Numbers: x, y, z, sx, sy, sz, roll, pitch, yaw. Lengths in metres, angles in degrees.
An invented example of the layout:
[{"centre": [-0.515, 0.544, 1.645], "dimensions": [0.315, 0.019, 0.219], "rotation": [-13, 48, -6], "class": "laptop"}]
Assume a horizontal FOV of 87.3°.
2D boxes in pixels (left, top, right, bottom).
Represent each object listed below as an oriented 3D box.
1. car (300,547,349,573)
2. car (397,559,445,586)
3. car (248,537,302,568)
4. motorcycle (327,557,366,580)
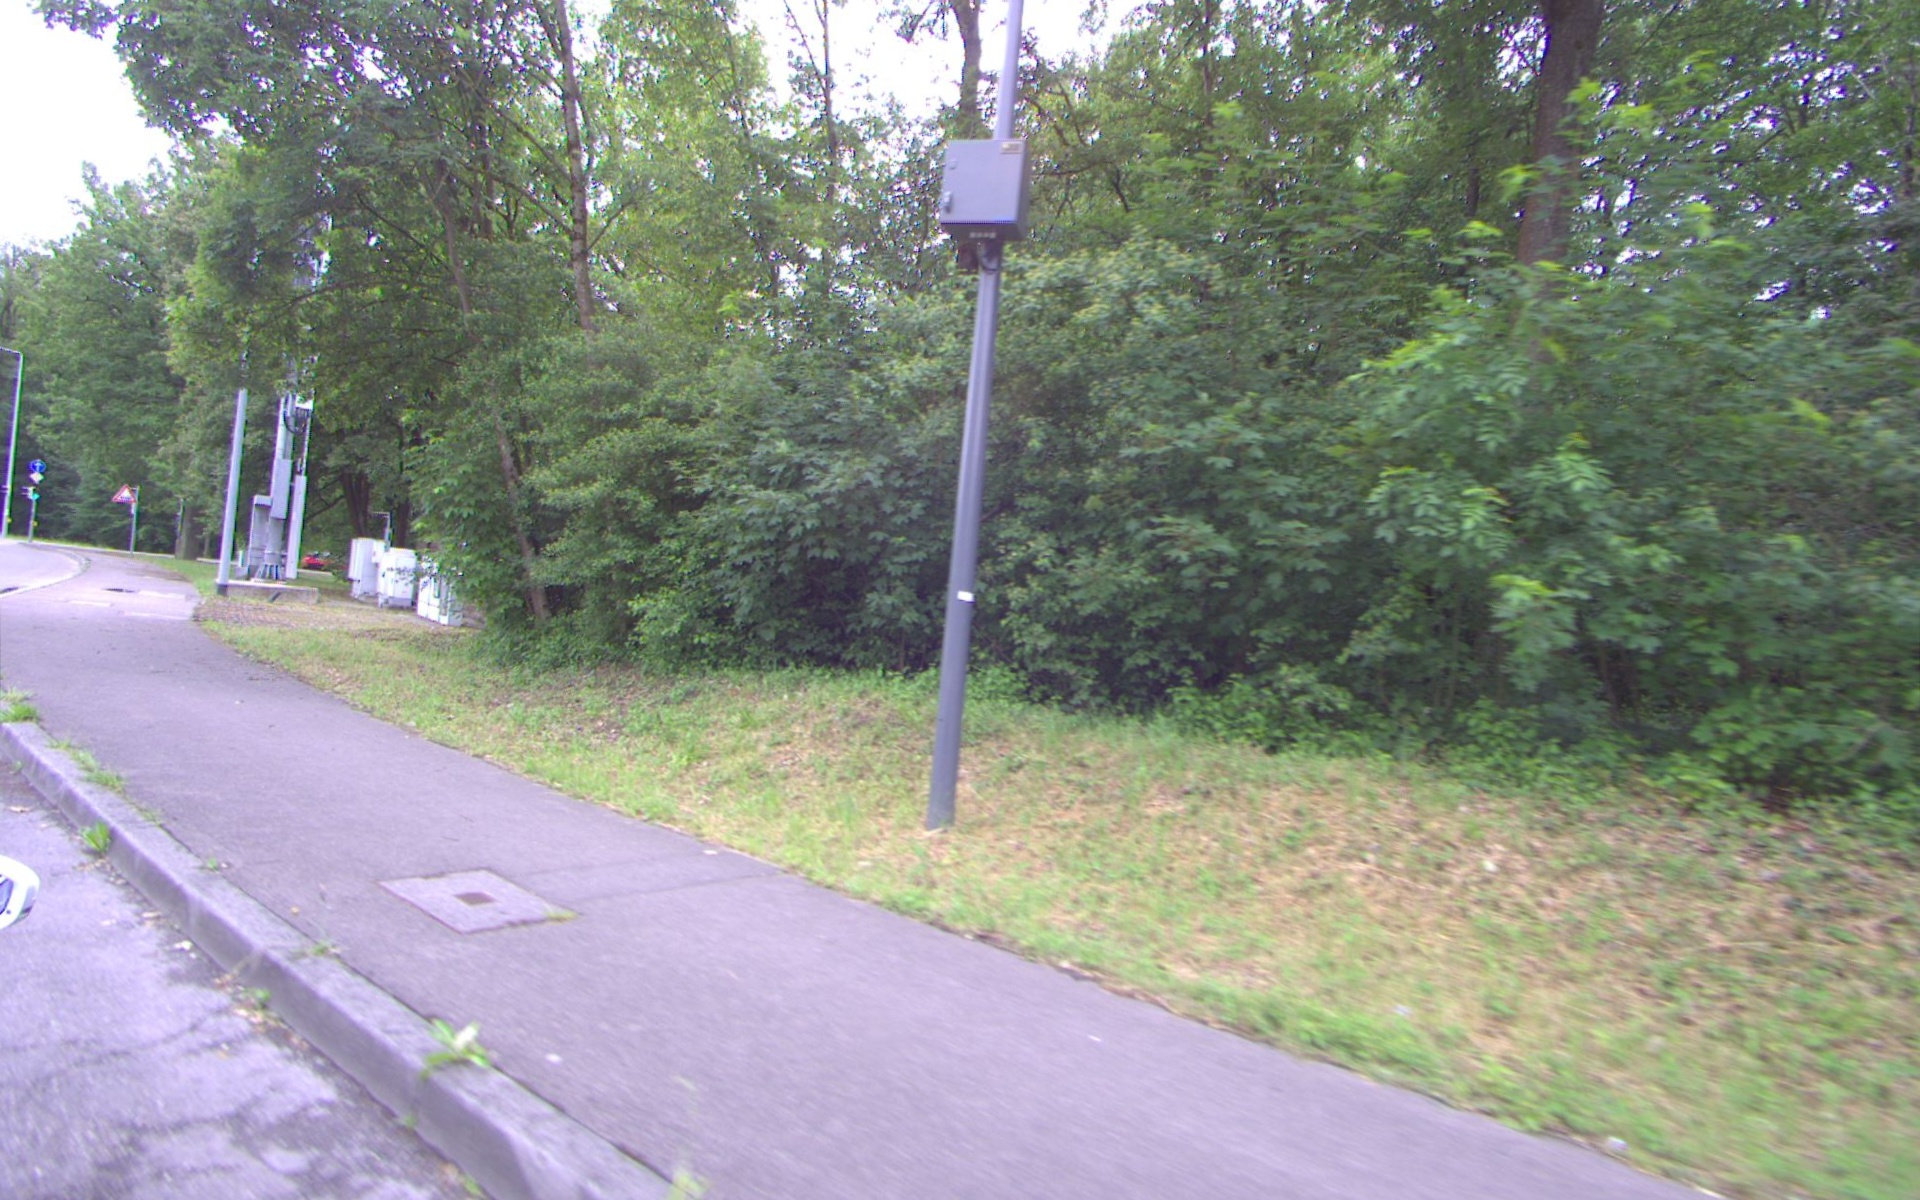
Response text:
[{"centre": [-38.588, -2.404, 61.168], "dimensions": [1.816, 1.342, 3.978], "rotation": [6, -1, -24], "class": "car"}, {"centre": [-34.190, -1.750, 63.755], "dimensions": [1.551, 1.342, 3.951], "rotation": [7, -1, -44], "class": "car"}, {"centre": [-40.845, -2.783, 60.074], "dimensions": [1.816, 1.555, 3.978], "rotation": [6, -1, -24], "class": "car"}, {"centre": [-34.773, -1.778, 57.051], "dimensions": [1.813, 1.070, 0.610], "rotation": [7, -1, -30], "class": "motorcycle"}]
